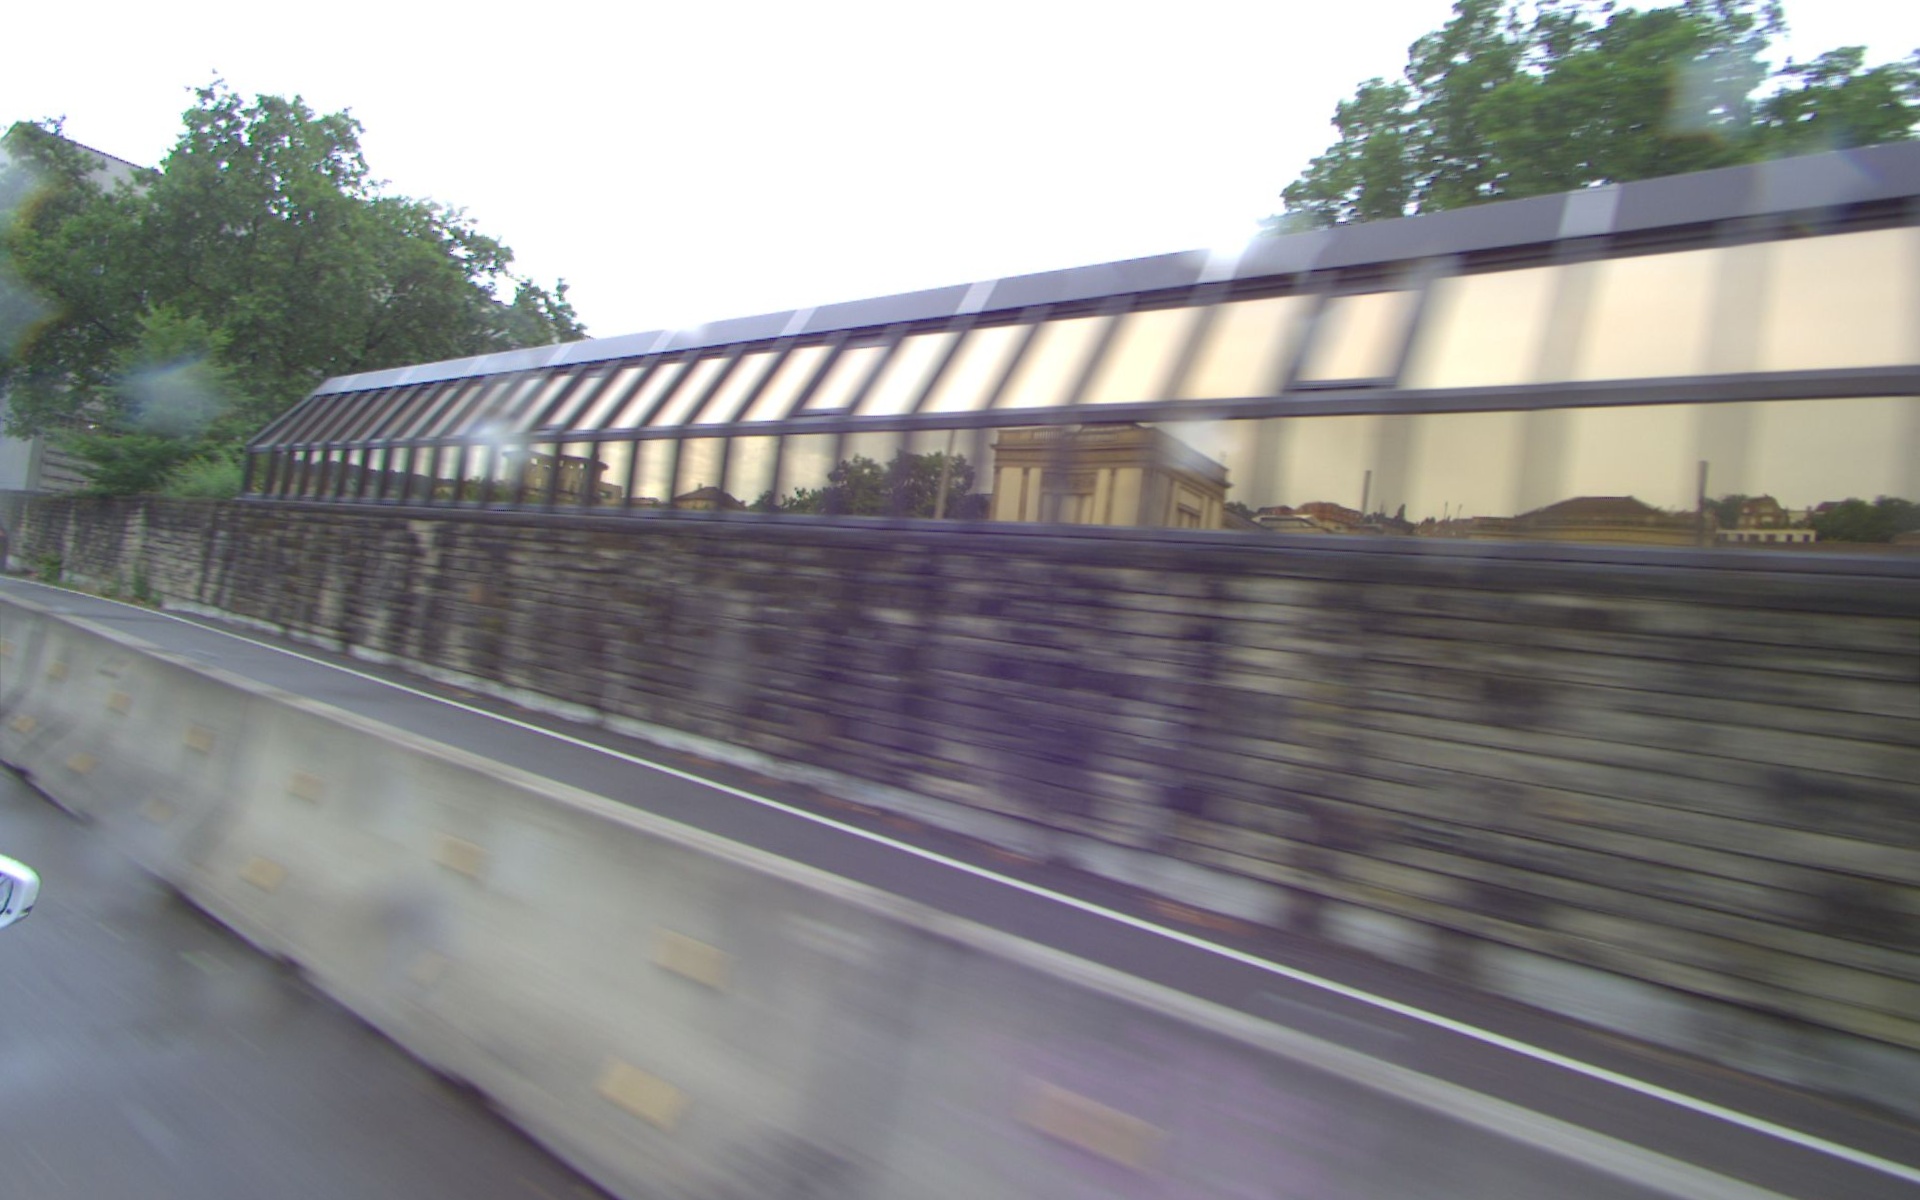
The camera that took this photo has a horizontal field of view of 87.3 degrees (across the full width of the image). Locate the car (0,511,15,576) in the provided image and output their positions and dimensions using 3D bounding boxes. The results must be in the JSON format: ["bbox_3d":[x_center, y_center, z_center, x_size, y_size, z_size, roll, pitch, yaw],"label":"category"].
[{"bbox_3d":[-25.663,-1.663,25.575,4.265,1.568,1.805,6,-4,41],"label":"car"}]
